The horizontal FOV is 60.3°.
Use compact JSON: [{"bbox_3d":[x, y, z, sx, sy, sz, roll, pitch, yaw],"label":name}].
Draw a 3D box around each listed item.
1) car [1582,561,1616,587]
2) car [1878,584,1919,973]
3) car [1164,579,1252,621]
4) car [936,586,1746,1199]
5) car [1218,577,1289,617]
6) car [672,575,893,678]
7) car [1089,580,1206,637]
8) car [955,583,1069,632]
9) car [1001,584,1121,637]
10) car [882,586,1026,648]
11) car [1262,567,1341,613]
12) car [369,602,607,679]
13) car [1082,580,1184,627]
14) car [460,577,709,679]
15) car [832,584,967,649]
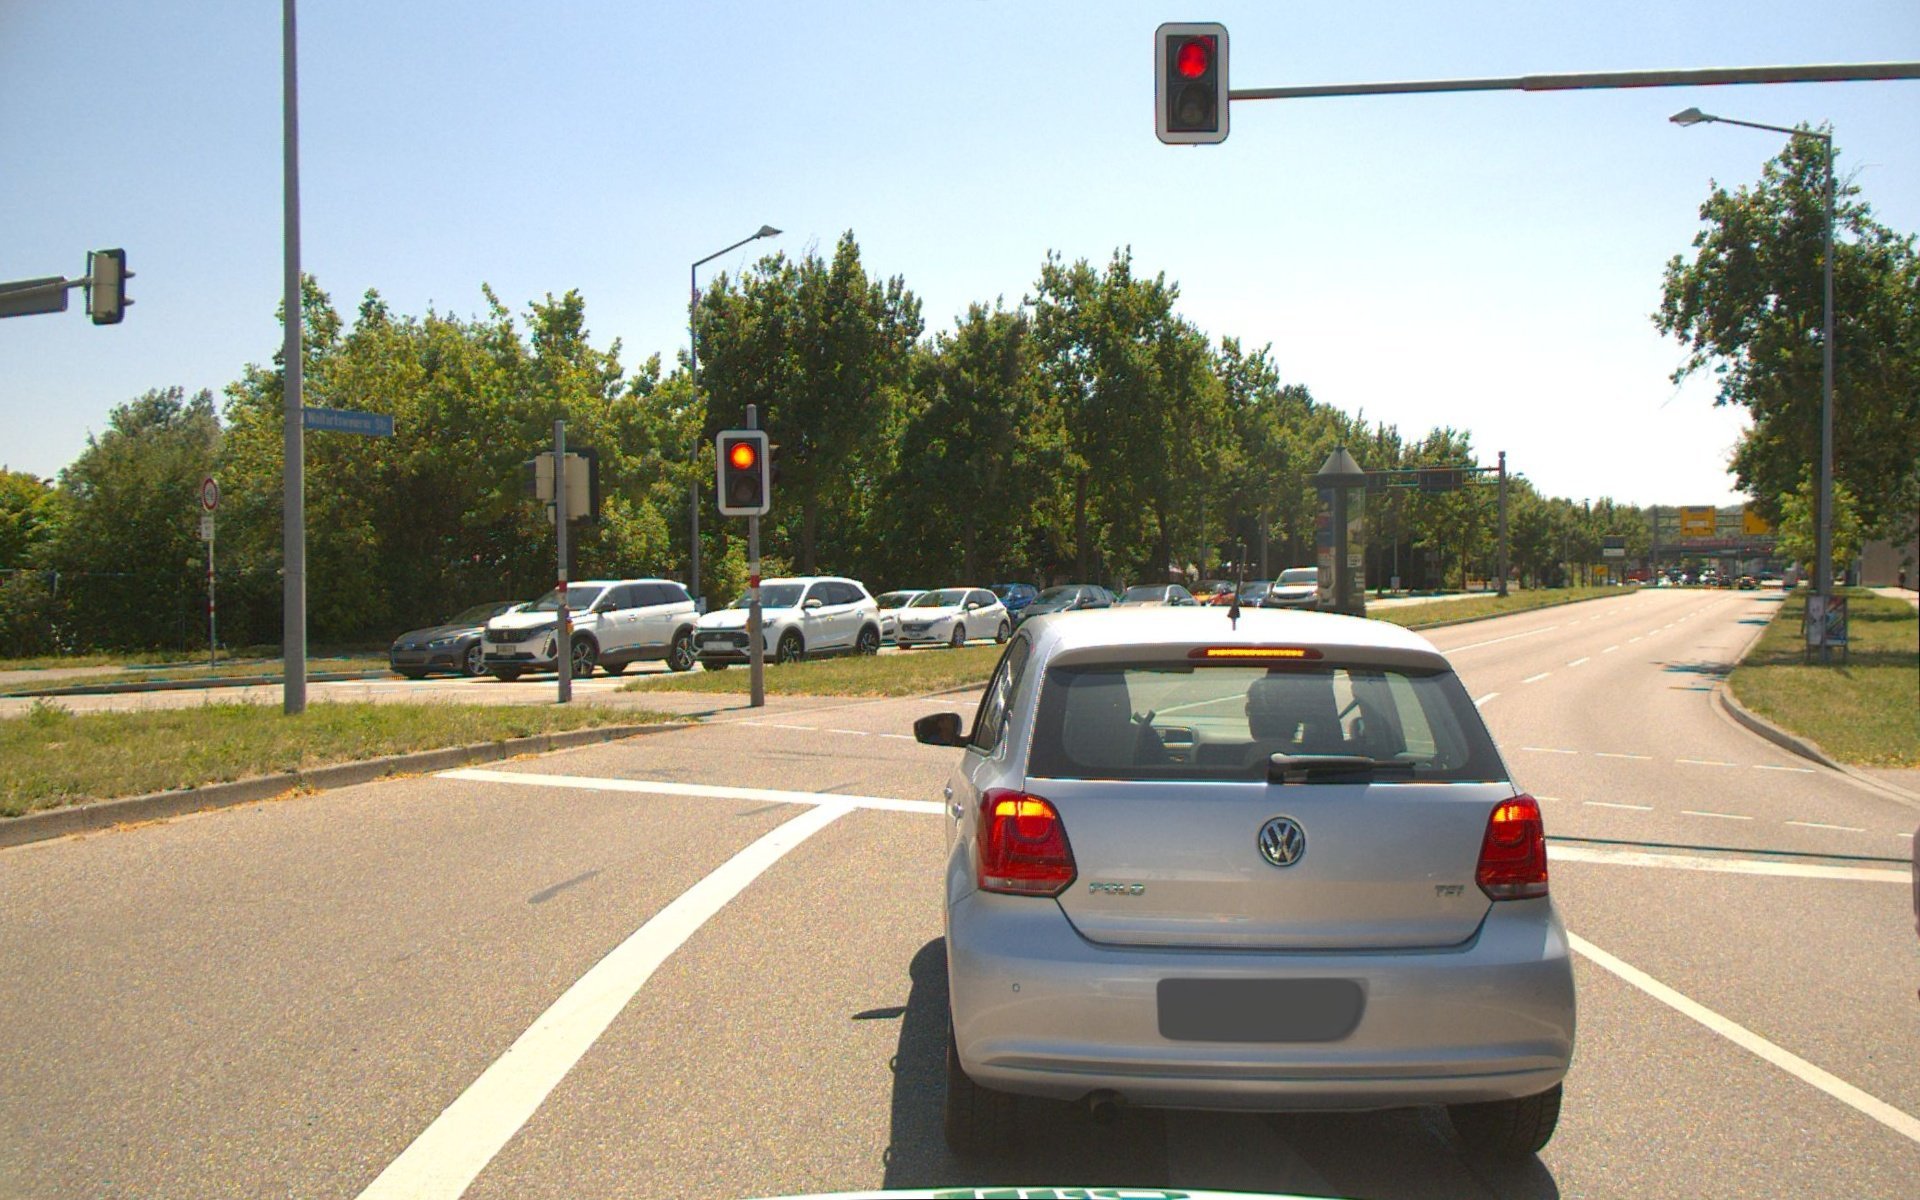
[{"bbox_3d":[45.967,-1.859,118.992,1.766,1.722,4.136,-2,-1,28],"label":"car"},{"bbox_3d":[4.472,0.690,4.184,1.952,1.443,4.457,0,1,2],"label":"car"},{"bbox_3d":[9.089,-0.029,60.359,1.823,1.447,4.402,0,1,28],"label":"car"},{"bbox_3d":[0.838,0.694,5.711,1.740,1.447,3.998,0,1,-2],"label":"car"},{"bbox_3d":[11.487,-0.121,64.568,1.682,1.500,3.793,-2,-1,27],"label":"car"},{"bbox_3d":[-3.100,0.416,29.850,1.823,1.712,4.402,0,1,28],"label":"car"},{"bbox_3d":[5.231,0.197,45.671,1.932,1.514,3.995,0,1,27],"label":"car"},{"bbox_3d":[1.674,0.212,51.804,1.823,1.447,4.402,0,1,28],"label":"car"},{"bbox_3d":[2.977,0.278,47.814,1.823,1.447,4.402,0,1,28],"label":"car"},{"bbox_3d":[-0.088,0.388,41.993,1.823,1.447,4.402,0,1,28],"label":"car"},{"bbox_3d":[12.275,-0.372,59.244,1.826,1.582,3.996,0,1,26],"label":"car"},{"bbox_3d":[-8.860,0.711,31.427,1.823,1.292,4.402,0,1,28],"label":"car"},{"bbox_3d":[5.717,0.081,54.149,1.823,1.447,4.402,0,1,28],"label":"car"},{"bbox_3d":[-6.456,0.421,28.922,1.823,1.646,4.402,0,1,28],"label":"car"},{"bbox_3d":[-1.636,0.425,46.172,1.823,1.712,4.402,0,1,28],"label":"car"}]
